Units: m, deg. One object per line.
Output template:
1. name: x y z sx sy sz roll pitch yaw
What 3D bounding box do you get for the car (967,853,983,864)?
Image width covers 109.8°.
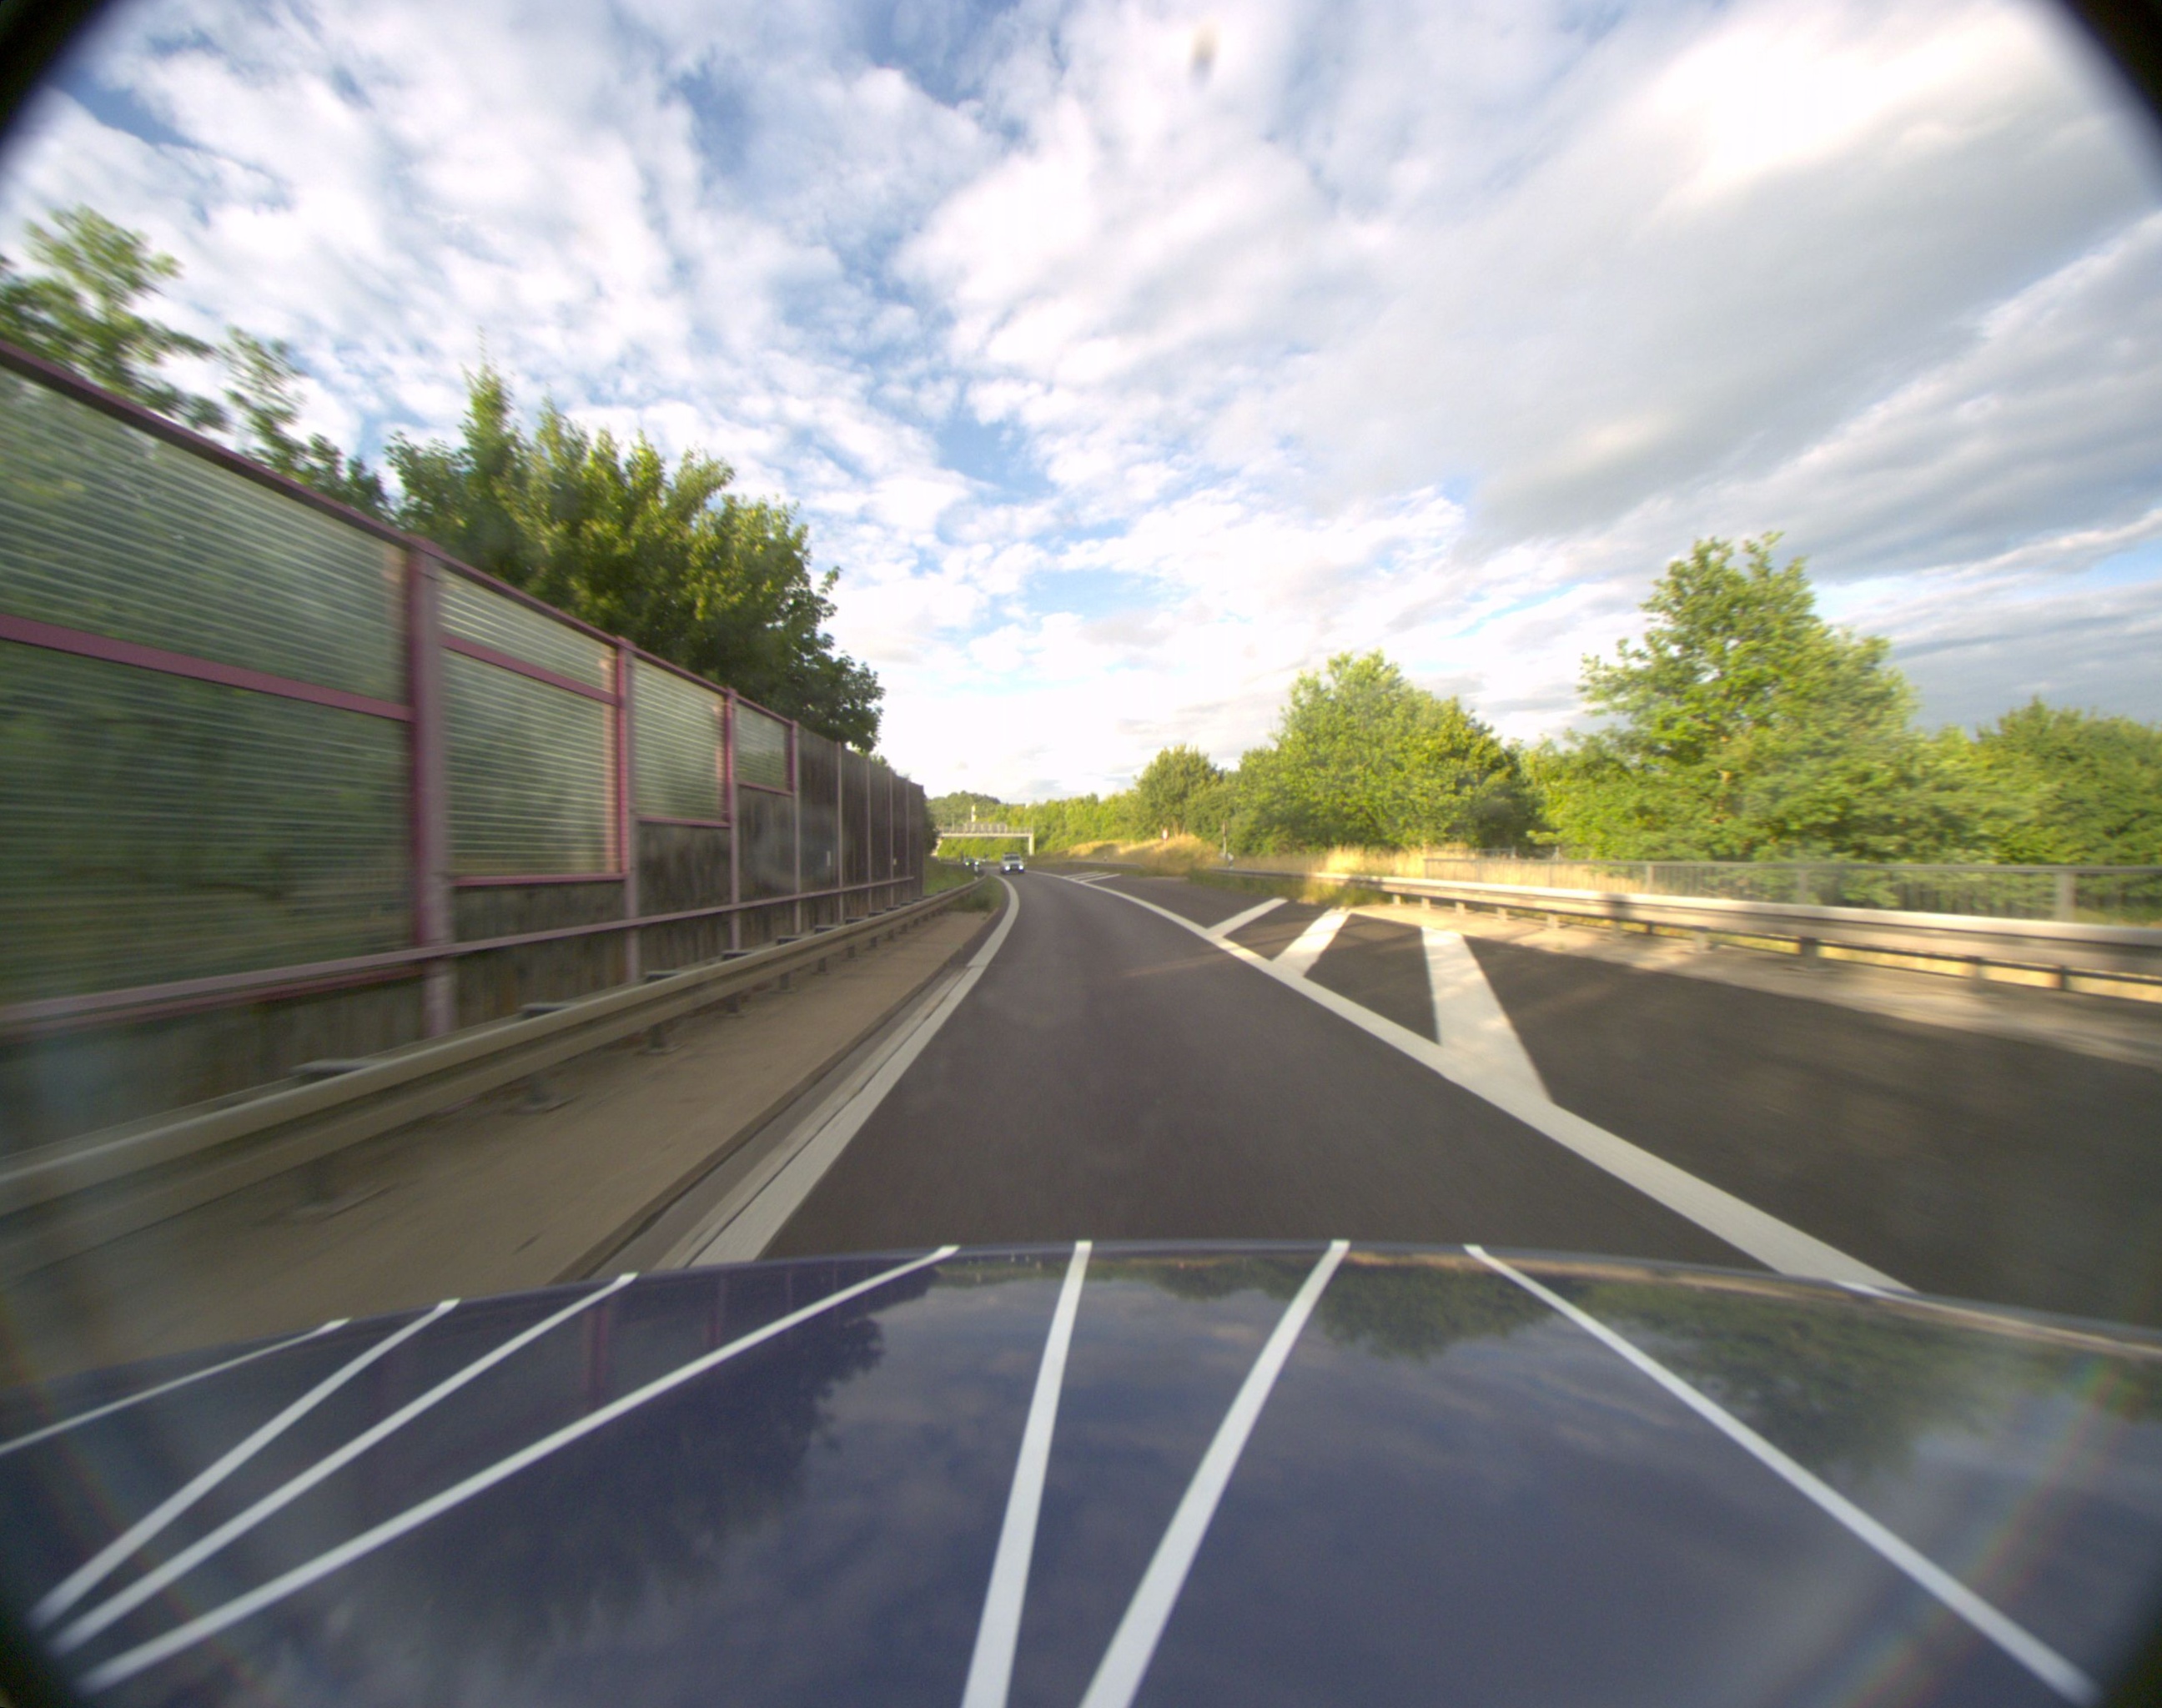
1. car: -14.953 0.571 107.081 1.622 1.451 3.657 -3 1 -16

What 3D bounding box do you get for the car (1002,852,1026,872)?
1. car: -6.079 0.733 68.587 1.906 1.655 3.997 -4 0 -8
